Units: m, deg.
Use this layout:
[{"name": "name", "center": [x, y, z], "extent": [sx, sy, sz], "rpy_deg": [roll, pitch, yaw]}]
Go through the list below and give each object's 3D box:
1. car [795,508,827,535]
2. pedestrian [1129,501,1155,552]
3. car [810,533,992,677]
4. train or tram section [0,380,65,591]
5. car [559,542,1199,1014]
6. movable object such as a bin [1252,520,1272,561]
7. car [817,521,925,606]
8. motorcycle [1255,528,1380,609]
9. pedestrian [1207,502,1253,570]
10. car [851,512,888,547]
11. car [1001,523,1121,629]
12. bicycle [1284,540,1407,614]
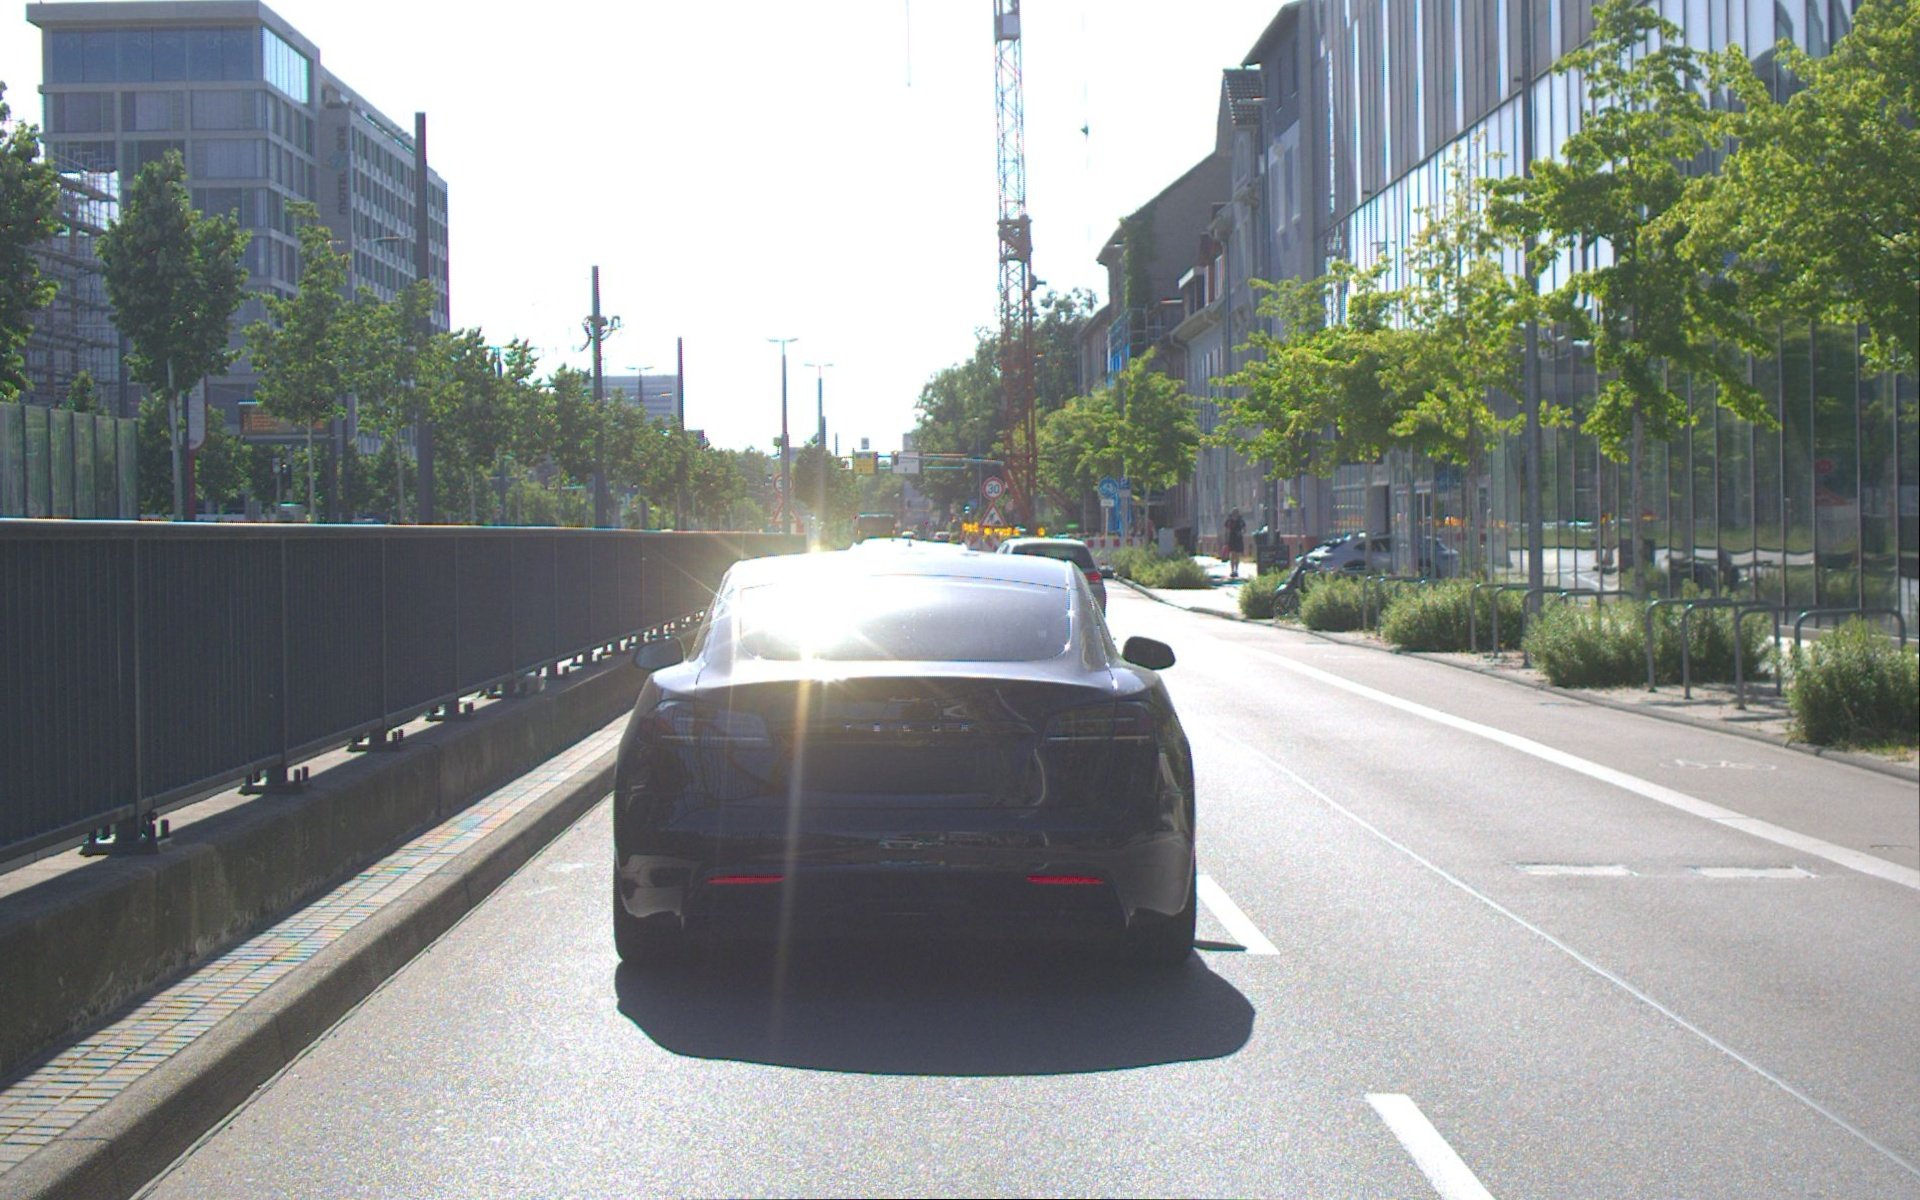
[{"name": "car", "center": [-9.634, -5.071, 221.951], "extent": [1.993, 1.678, 4.000], "rpy_deg": [1, 1, -2]}, {"name": "pedestrian", "center": [6.726, -2.723, 126.968], "extent": [0.851, 1.857, 0.930], "rpy_deg": [-1, 1, -2]}, {"name": "car", "center": [-0.556, 0.006, 34.562], "extent": [1.716, 1.315, 4.000], "rpy_deg": [0, 2, 0]}, {"name": "train or tram section", "center": [-16.260, -1.624, 46.254], "extent": [2.870, 3.268, 22.145], "rpy_deg": [1, 1, -1]}, {"name": "car", "center": [-0.176, 0.518, 12.943], "extent": [1.999, 1.429, 4.412], "rpy_deg": [0, 1, 2]}, {"name": "movable object such as a bin", "center": [8.712, -1.718, 99.222], "extent": [0.559, 1.165, 0.562], "rpy_deg": [1, 1, 3]}, {"name": "car", "center": [-1.737, -0.755, 68.337], "extent": [1.888, 1.590, 4.000], "rpy_deg": [-1, 2, 2]}, {"name": "motorcycle", "center": [6.456, -0.571, 62.057], "extent": [2.075, 1.349, 0.652], "rpy_deg": [-3, 1, 23]}, {"name": "pedestrian", "center": [7.475, -1.775, 95.176], "extent": [1.095, 1.857, 1.523], "rpy_deg": [-1, 1, -2]}, {"name": "car", "center": [-4.871, -3.789, 184.702], "extent": [1.814, 1.803, 4.039], "rpy_deg": [0, 2, 1]}, {"name": "car", "center": [1.534, -0.407, 53.279], "extent": [1.784, 1.540, 4.039], "rpy_deg": [0, 2, 1]}, {"name": "bicycle", "center": [6.434, -0.395, 57.418], "extent": [1.881, 1.147, 0.672], "rpy_deg": [-3, 1, -10]}]
